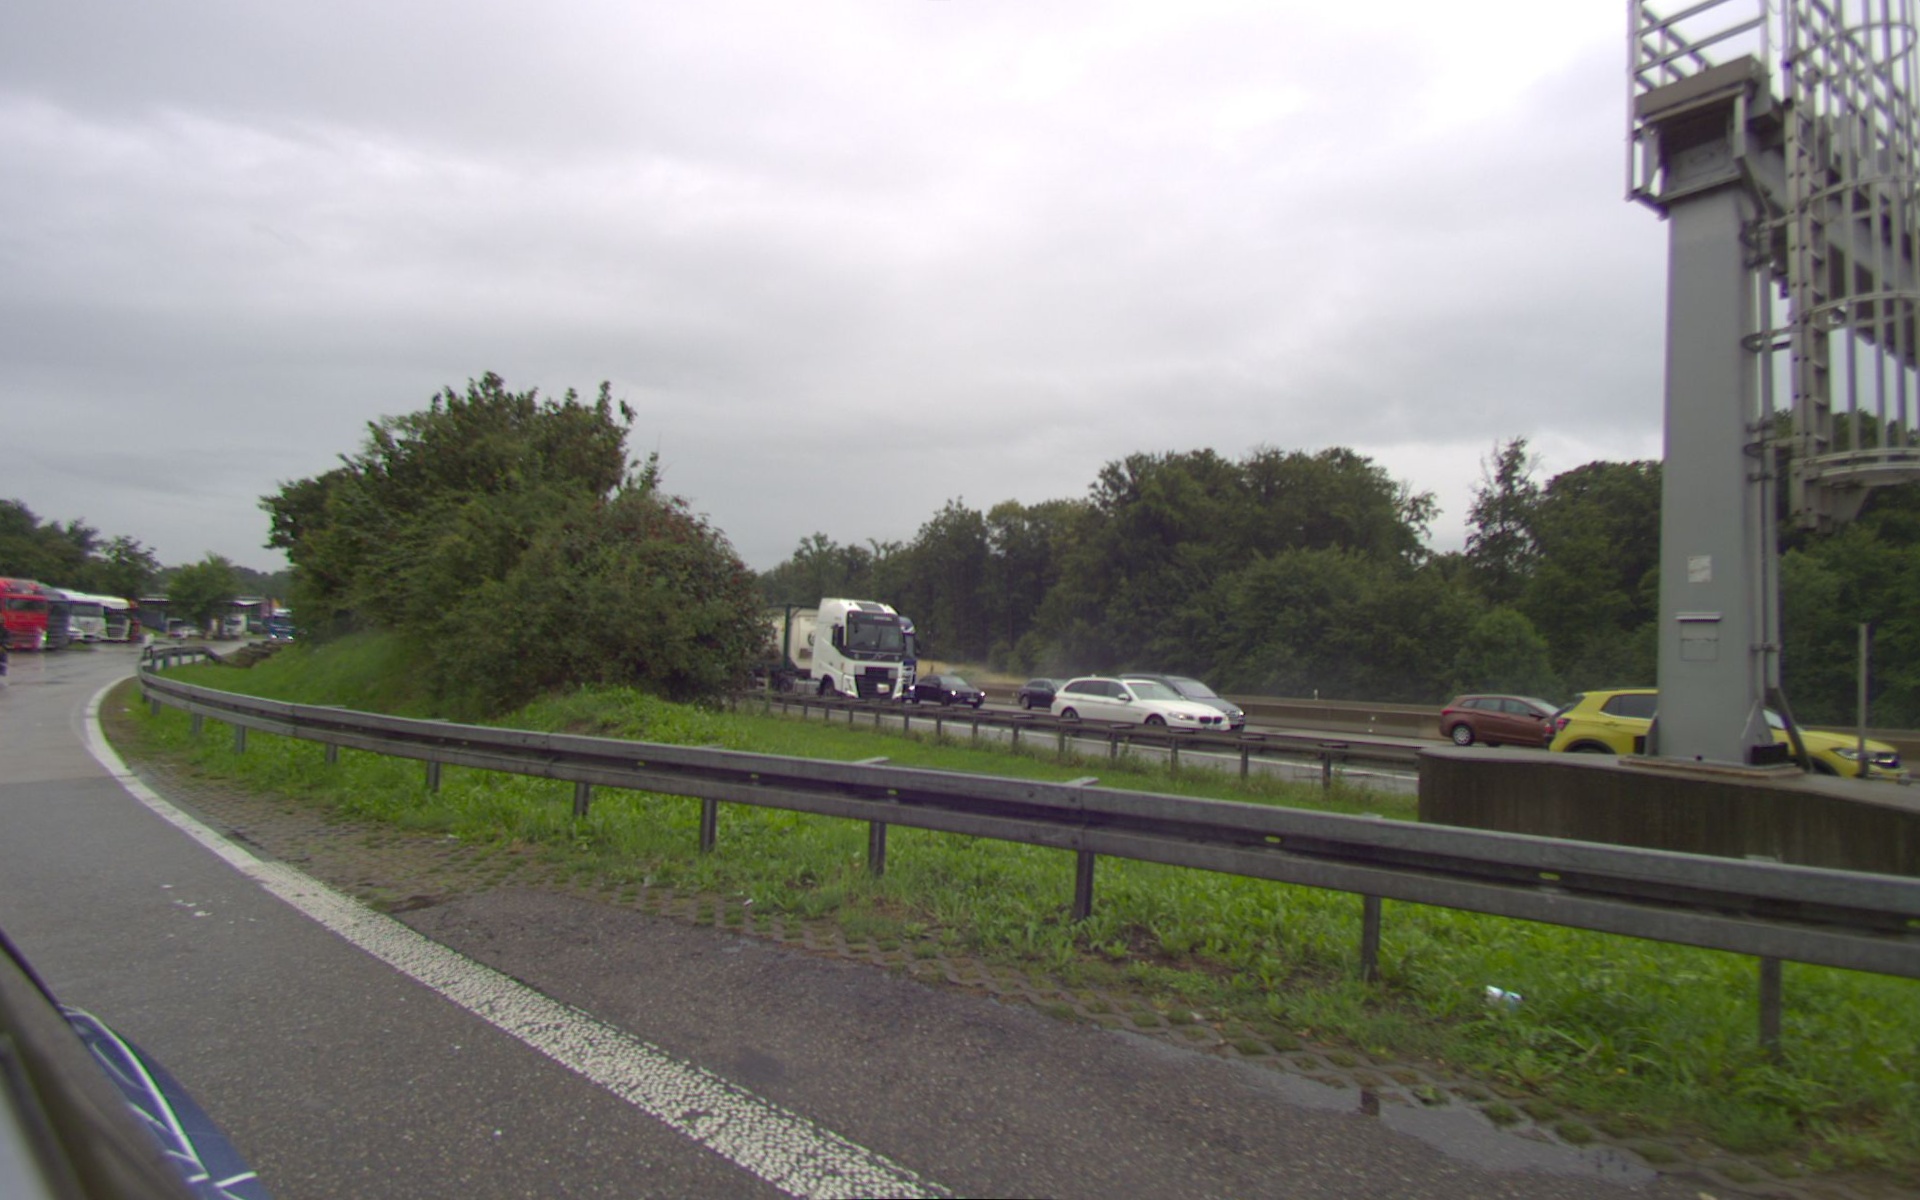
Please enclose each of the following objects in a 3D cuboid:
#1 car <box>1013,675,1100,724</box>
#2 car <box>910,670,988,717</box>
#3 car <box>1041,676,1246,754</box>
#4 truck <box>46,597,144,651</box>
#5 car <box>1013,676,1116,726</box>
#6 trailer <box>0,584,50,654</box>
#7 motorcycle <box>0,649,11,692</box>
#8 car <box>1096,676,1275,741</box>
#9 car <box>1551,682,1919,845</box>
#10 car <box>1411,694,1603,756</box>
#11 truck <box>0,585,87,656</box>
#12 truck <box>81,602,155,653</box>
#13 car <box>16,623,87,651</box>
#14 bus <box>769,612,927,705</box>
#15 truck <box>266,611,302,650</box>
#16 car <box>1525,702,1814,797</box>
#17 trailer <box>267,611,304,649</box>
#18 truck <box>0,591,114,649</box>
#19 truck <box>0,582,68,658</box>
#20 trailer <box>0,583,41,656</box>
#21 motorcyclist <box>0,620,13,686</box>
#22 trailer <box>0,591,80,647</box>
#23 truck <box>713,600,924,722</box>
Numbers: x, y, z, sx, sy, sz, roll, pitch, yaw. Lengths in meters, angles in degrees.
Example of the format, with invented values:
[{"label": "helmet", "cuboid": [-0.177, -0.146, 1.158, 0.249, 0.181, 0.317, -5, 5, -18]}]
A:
[{"label": "car", "cuboid": [4.198, 4.331, 44.512, 1.743, 1.811, 4.011, 0, -1, -32]}, {"label": "car", "cuboid": [-0.558, 4.112, 45.143, 1.597, 1.794, 4.011, 0, -2, -33]}, {"label": "car", "cuboid": [4.155, 2.620, 23.684, 1.901, 1.534, 4.774, 4, -5, -34]}, {"label": "truck", "cuboid": [-74.126, 2.082, 86.798, 5.749, 4.420, 3.236, 1, -3, 10]}, {"label": "car", "cuboid": [3.786, 3.699, 37.393, 1.680, 1.652, 4.011, 4, -4, -31]}, {"label": "trailer", "cuboid": [-61.843, 0.935, 60.567, 13.783, 3.949, 2.867, 2, -4, 10]}, {"label": "motorcycle", "cuboid": [-23.726, 1.688, 24.582, 0.865, 1.030, 2.354, 6, -6, -44]}, {"label": "car", "cuboid": [6.085, 2.920, 27.831, 1.901, 1.534, 4.774, 4, -5, -34]}, {"label": "car", "cuboid": [10.891, 2.106, 14.084, 1.770, 1.807, 4.250, 4, -4, -35]}, {"label": "car", "cuboid": [15.021, 3.396, 28.041, 1.682, 1.405, 4.389, 4, -4, -33]}, {"label": "truck", "cuboid": [-55.584, 1.174, 59.441, 6.484, 3.949, 2.890, 2, -4, 10]}, {"label": "truck", "cuboid": [-76.386, 2.527, 91.871, 4.578, 4.420, 2.598, 1, -3, 10]}, {"label": "car", "cuboid": [-66.475, 2.727, 74.102, 3.959, 1.872, 1.841, 1, -3, 12]}, {"label": "bus", "cuboid": [-5.464, 2.516, 46.659, 2.855, 3.797, 10.458, 0, -2, -33]}, {"label": "truck", "cuboid": [-80.766, 3.672, 120.982, 3.191, 4.420, 6.331, 3, -3, -32]}, {"label": "car", "cuboid": [14.670, 3.009, 21.207, 1.966, 1.542, 4.551, 4, -4, -34]}, {"label": "trailer", "cuboid": [-84.237, 3.793, 126.564, 3.191, 4.420, 13.804, 3, -3, -32]}, {"label": "truck", "cuboid": [-70.639, 1.526, 78.438, 7.851, 4.122, 3.236, 2, -4, 10]}, {"label": "truck", "cuboid": [-52.728, 1.091, 55.385, 4.966, 3.949, 3.236, 2, -4, 10]}, {"label": "trailer", "cuboid": [-59.297, 0.863, 56.571, 14.668, 3.949, 3.236, 2, -4, 10]}, {"label": "motorcyclist", "cuboid": [-23.667, 1.276, 24.566, 0.866, 1.580, 1.374, 6, -6, -44]}, {"label": "trailer", "cuboid": [-76.513, 1.371, 79.501, 13.385, 4.122, 3.236, 2, -4, 10]}, {"label": "truck", "cuboid": [-6.069, 2.194, 40.098, 3.301, 4.101, 12.607, 0, -2, -32]}]
